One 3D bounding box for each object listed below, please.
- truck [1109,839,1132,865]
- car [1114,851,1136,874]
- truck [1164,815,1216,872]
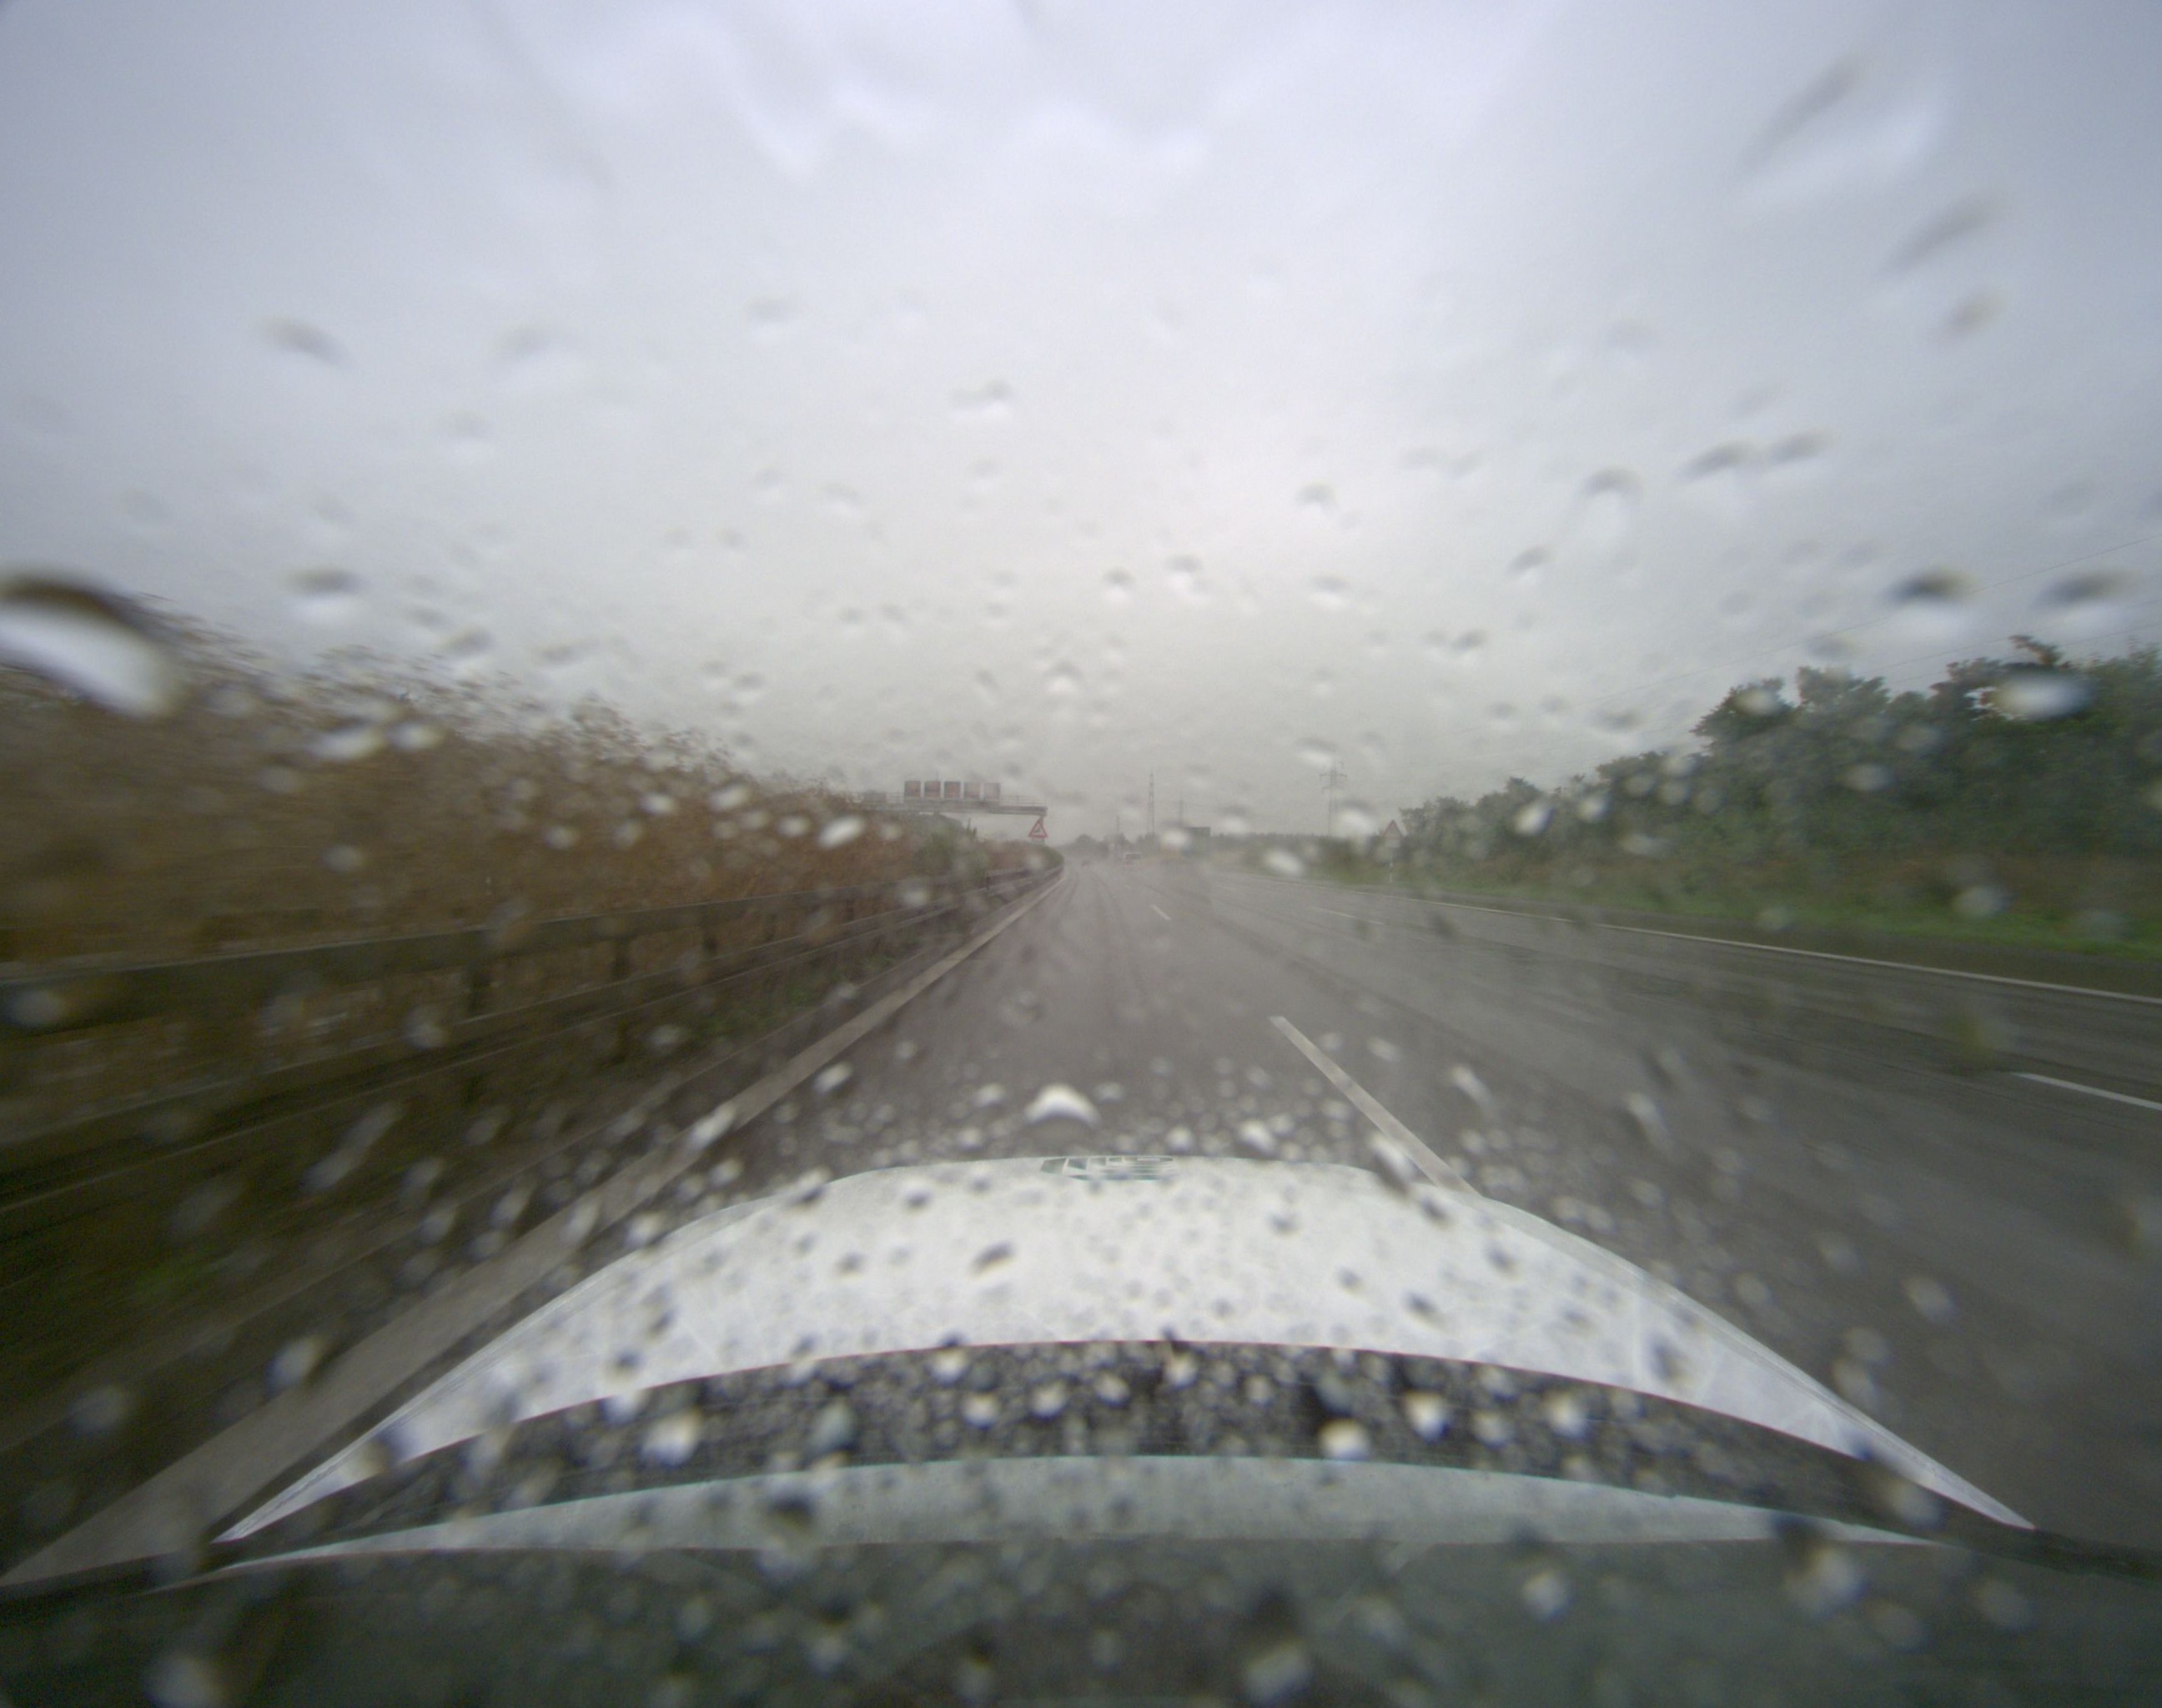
[{"bbox_3d":[6.934,-0.339,144.167,3.224,4.311,8.829,-1,0,-2],"label":"truck"},{"bbox_3d":[4.071,0.766,74.984,1.985,2.013,4.004,-1,0,3],"label":"car"},{"bbox_3d":[9.811,-0.796,75.113,4.168,4.630,16.132,-1,0,6],"label":"truck"}]
